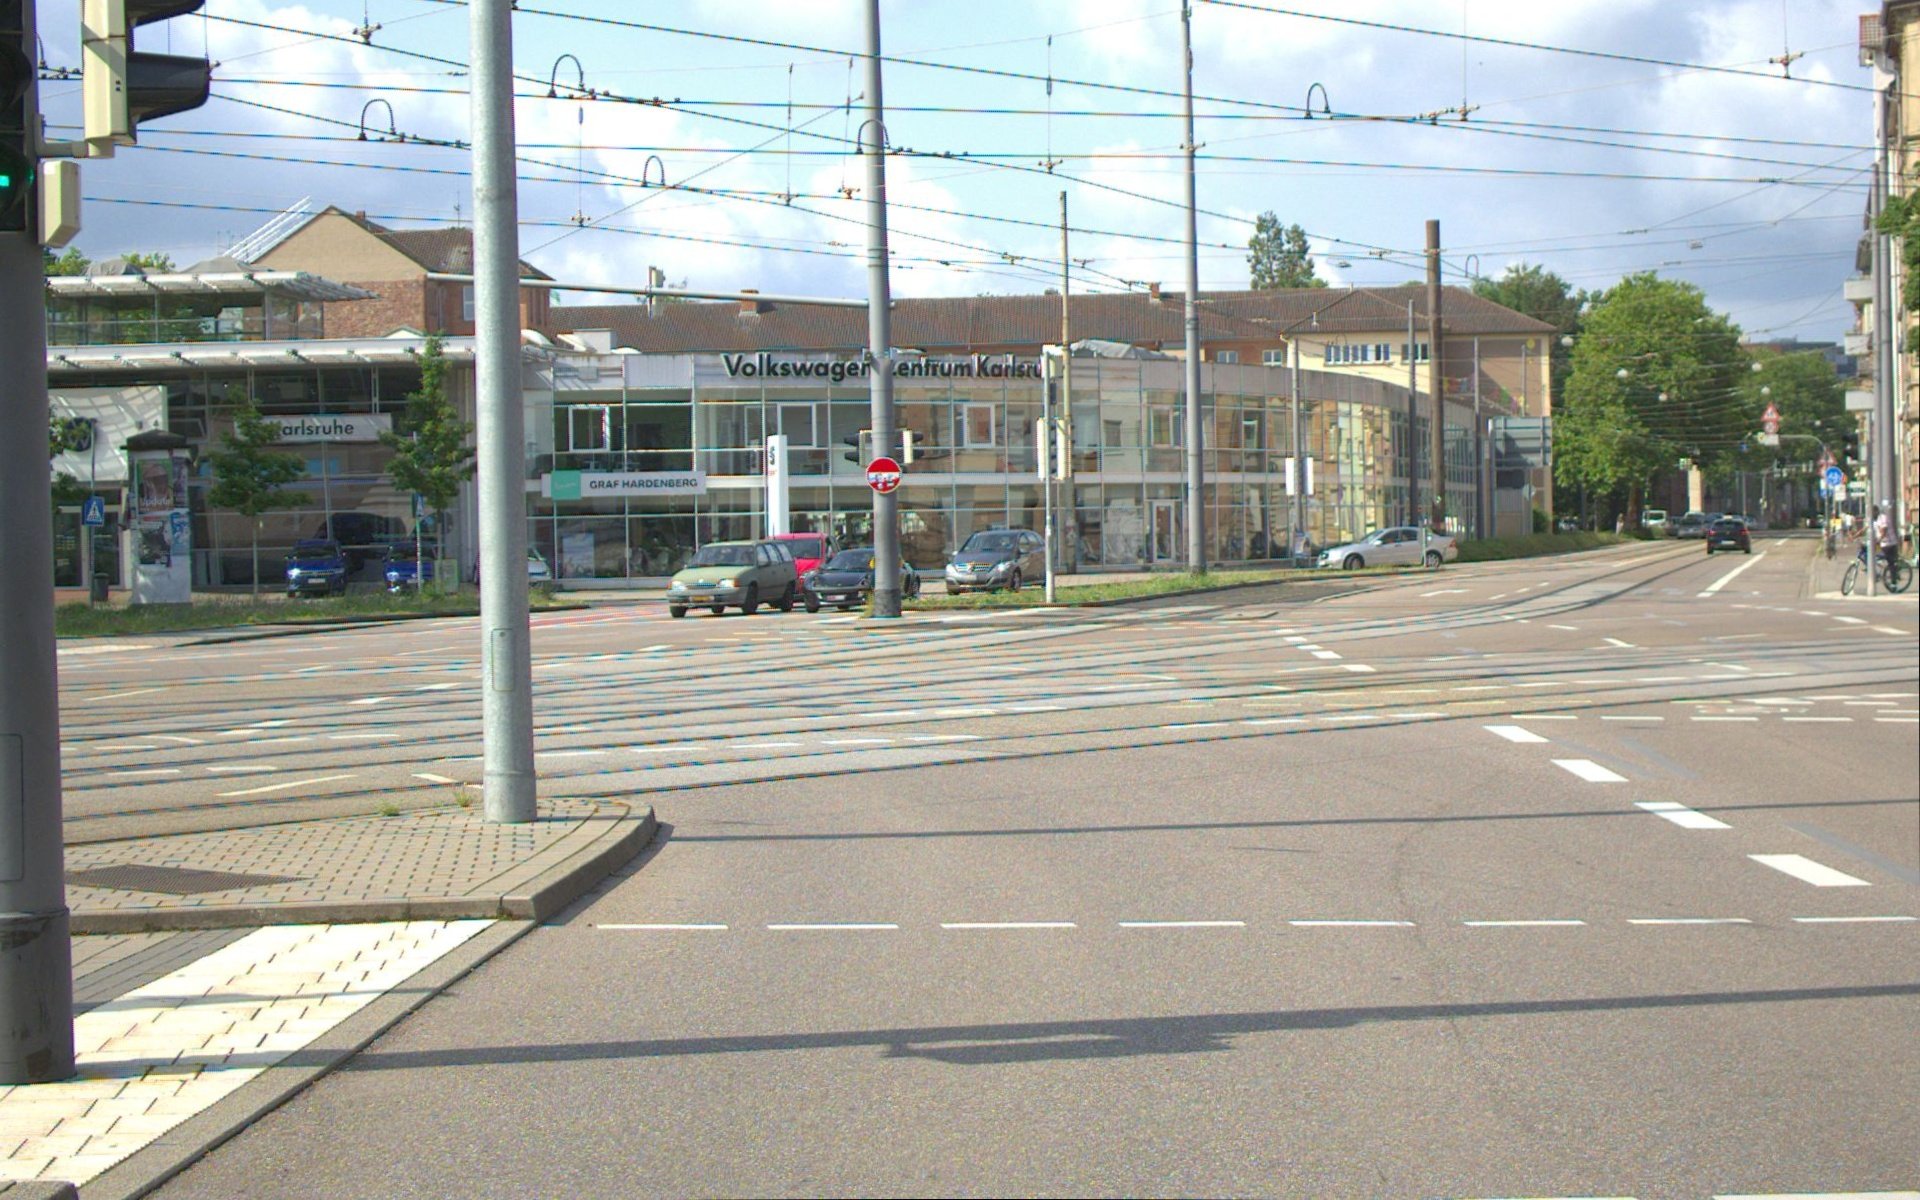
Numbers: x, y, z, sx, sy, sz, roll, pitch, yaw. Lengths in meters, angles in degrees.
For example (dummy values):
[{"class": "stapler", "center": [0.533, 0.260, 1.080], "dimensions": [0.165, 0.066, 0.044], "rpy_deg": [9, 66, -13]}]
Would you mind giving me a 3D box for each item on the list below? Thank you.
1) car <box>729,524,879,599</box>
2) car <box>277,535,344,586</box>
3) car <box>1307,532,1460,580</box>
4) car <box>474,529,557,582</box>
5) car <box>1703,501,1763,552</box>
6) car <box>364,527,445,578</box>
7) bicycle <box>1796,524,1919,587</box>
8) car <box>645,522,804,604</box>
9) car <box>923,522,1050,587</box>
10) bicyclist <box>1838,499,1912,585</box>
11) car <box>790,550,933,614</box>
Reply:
[{"class": "car", "center": [-3.240, -0.800, 72.137], "dimensions": [1.995, 1.514, 3.997], "rpy_deg": [1, 1, 15]}, {"class": "car", "center": [-19.388, -1.190, 102.677], "dimensions": [1.919, 1.440, 4.001], "rpy_deg": [-1, 1, -10]}, {"class": "car", "center": [13.499, -1.394, 109.639], "dimensions": [4.466, 1.459, 1.782], "rpy_deg": [1, 1, -14]}, {"class": "car", "center": [-13.467, -1.379, 104.325], "dimensions": [1.919, 1.546, 4.000], "rpy_deg": [-1, 1, 1]}, {"class": "car", "center": [31.378, -2.975, 139.536], "dimensions": [1.995, 2.007, 3.997], "rpy_deg": [-1, 1, 18]}, {"class": "car", "center": [-16.484, -1.419, 102.203], "dimensions": [1.919, 1.440, 4.001], "rpy_deg": [-1, 1, -3]}, {"class": "bicycle", "center": [17.673, -0.867, 66.710], "dimensions": [2.671, 1.166, 0.901], "rpy_deg": [-1, 1, -3]}, {"class": "car", "center": [-4.486, -0.712, 66.040], "dimensions": [1.822, 1.508, 3.997], "rpy_deg": [1, 1, 15]}, {"class": "car", "center": [0.684, -1.141, 84.936], "dimensions": [1.995, 1.546, 3.997], "rpy_deg": [-1, 1, 18]}, {"class": "bicyclist", "center": [17.742, -1.128, 66.666], "dimensions": [1.193, 1.652, 0.786], "rpy_deg": [-1, 1, -3]}, {"class": "car", "center": [-1.841, -0.347, 65.560], "dimensions": [1.622, 1.157, 3.997], "rpy_deg": [1, 1, 15]}]
